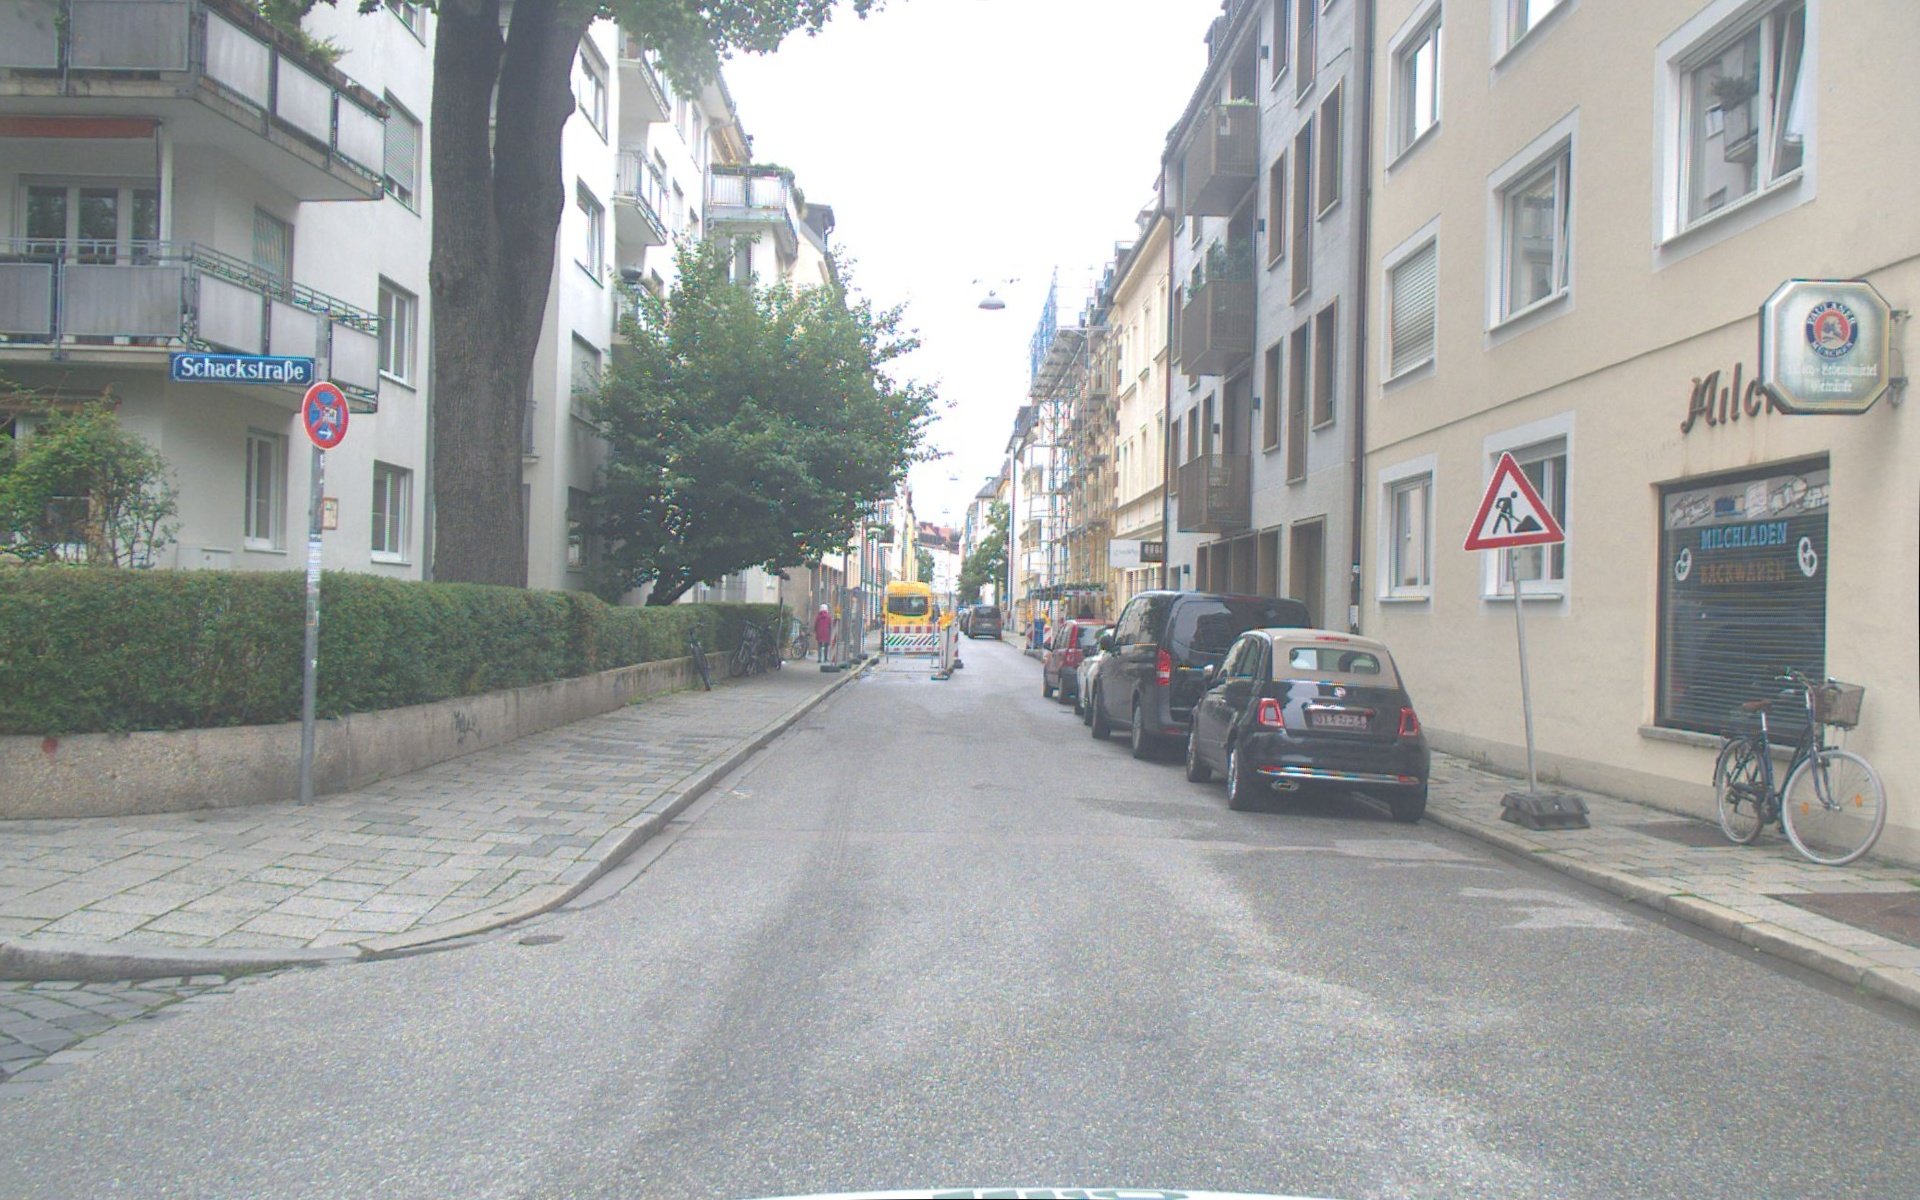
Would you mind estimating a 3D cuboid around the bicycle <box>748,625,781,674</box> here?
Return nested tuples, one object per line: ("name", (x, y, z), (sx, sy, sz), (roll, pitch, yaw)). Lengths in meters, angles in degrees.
("bicycle", (-4.187, 1.055, 35.435), (0.427, 0.995, 1.698), (4, -1, 0))

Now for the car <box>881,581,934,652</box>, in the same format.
("car", (-2.050, 0.636, 65.319), (1.953, 2.624, 6.734), (1, 0, -2))

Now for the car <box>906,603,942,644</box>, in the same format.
("car", (-1.739, 1.138, 80.445), (1.692, 1.930, 5.507), (0, -1, -1))

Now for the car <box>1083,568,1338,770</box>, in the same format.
("car", (2.812, 0.739, 19.779), (1.951, 2.011, 4.881), (3, 0, -3))

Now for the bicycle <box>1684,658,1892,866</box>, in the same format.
("bicycle", (5.402, 1.010, 10.907), (0.401, 1.235, 1.818), (-1, -2, -1))

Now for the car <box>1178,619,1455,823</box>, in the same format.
("car", (3.042, 0.974, 14.787), (1.601, 1.497, 3.537), (3, 0, -1))

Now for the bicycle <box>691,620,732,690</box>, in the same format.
("bicycle", (-4.121, 0.902, 27.515), (0.340, 1.090, 1.780), (5, 0, -1))

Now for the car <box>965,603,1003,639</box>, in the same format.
("car", (1.404, 1.211, 97.446), (1.953, 1.965, 4.658), (3, 0, -2))

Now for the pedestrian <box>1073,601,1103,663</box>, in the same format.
("pedestrian", (3.764, 0.932, 48.869), (0.715, 1.783, 0.988), (-2, -1, -2))

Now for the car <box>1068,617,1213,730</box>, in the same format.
("car", (2.701, 1.066, 25.669), (1.732, 1.486, 4.380), (3, 0, 0))

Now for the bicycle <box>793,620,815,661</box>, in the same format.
("bicycle", (-4.408, 1.127, 46.798), (0.369, 1.081, 1.597), (7, 0, 0))

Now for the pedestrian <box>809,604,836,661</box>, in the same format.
("pedestrian", (-3.813, 0.897, 45.952), (0.625, 1.559, 0.747), (1, -1, 1))

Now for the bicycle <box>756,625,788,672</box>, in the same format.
("bicycle", (-4.192, 1.073, 36.996), (0.434, 0.995, 1.853), (4, -1, 0))

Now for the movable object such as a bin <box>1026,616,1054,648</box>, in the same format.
("movable object such as a bin", (3.650, 1.450, 75.058), (1.063, 1.370, 1.318), (-2, 0, 11))

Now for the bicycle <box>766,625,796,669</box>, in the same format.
("bicycle", (-4.197, 1.099, 38.861), (0.434, 0.995, 1.816), (4, -1, 0))

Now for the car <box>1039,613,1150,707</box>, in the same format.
("car", (2.442, 1.060, 30.896), (1.735, 1.550, 4.066), (3, 0, 1))

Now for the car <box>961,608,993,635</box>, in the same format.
("car", (1.094, 1.351, 107.448), (1.856, 1.670, 4.320), (1, 0, -2))

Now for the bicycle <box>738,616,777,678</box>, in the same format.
("bicycle", (-4.026, 0.928, 32.974), (0.478, 1.171, 1.698), (4, -1, 0))
